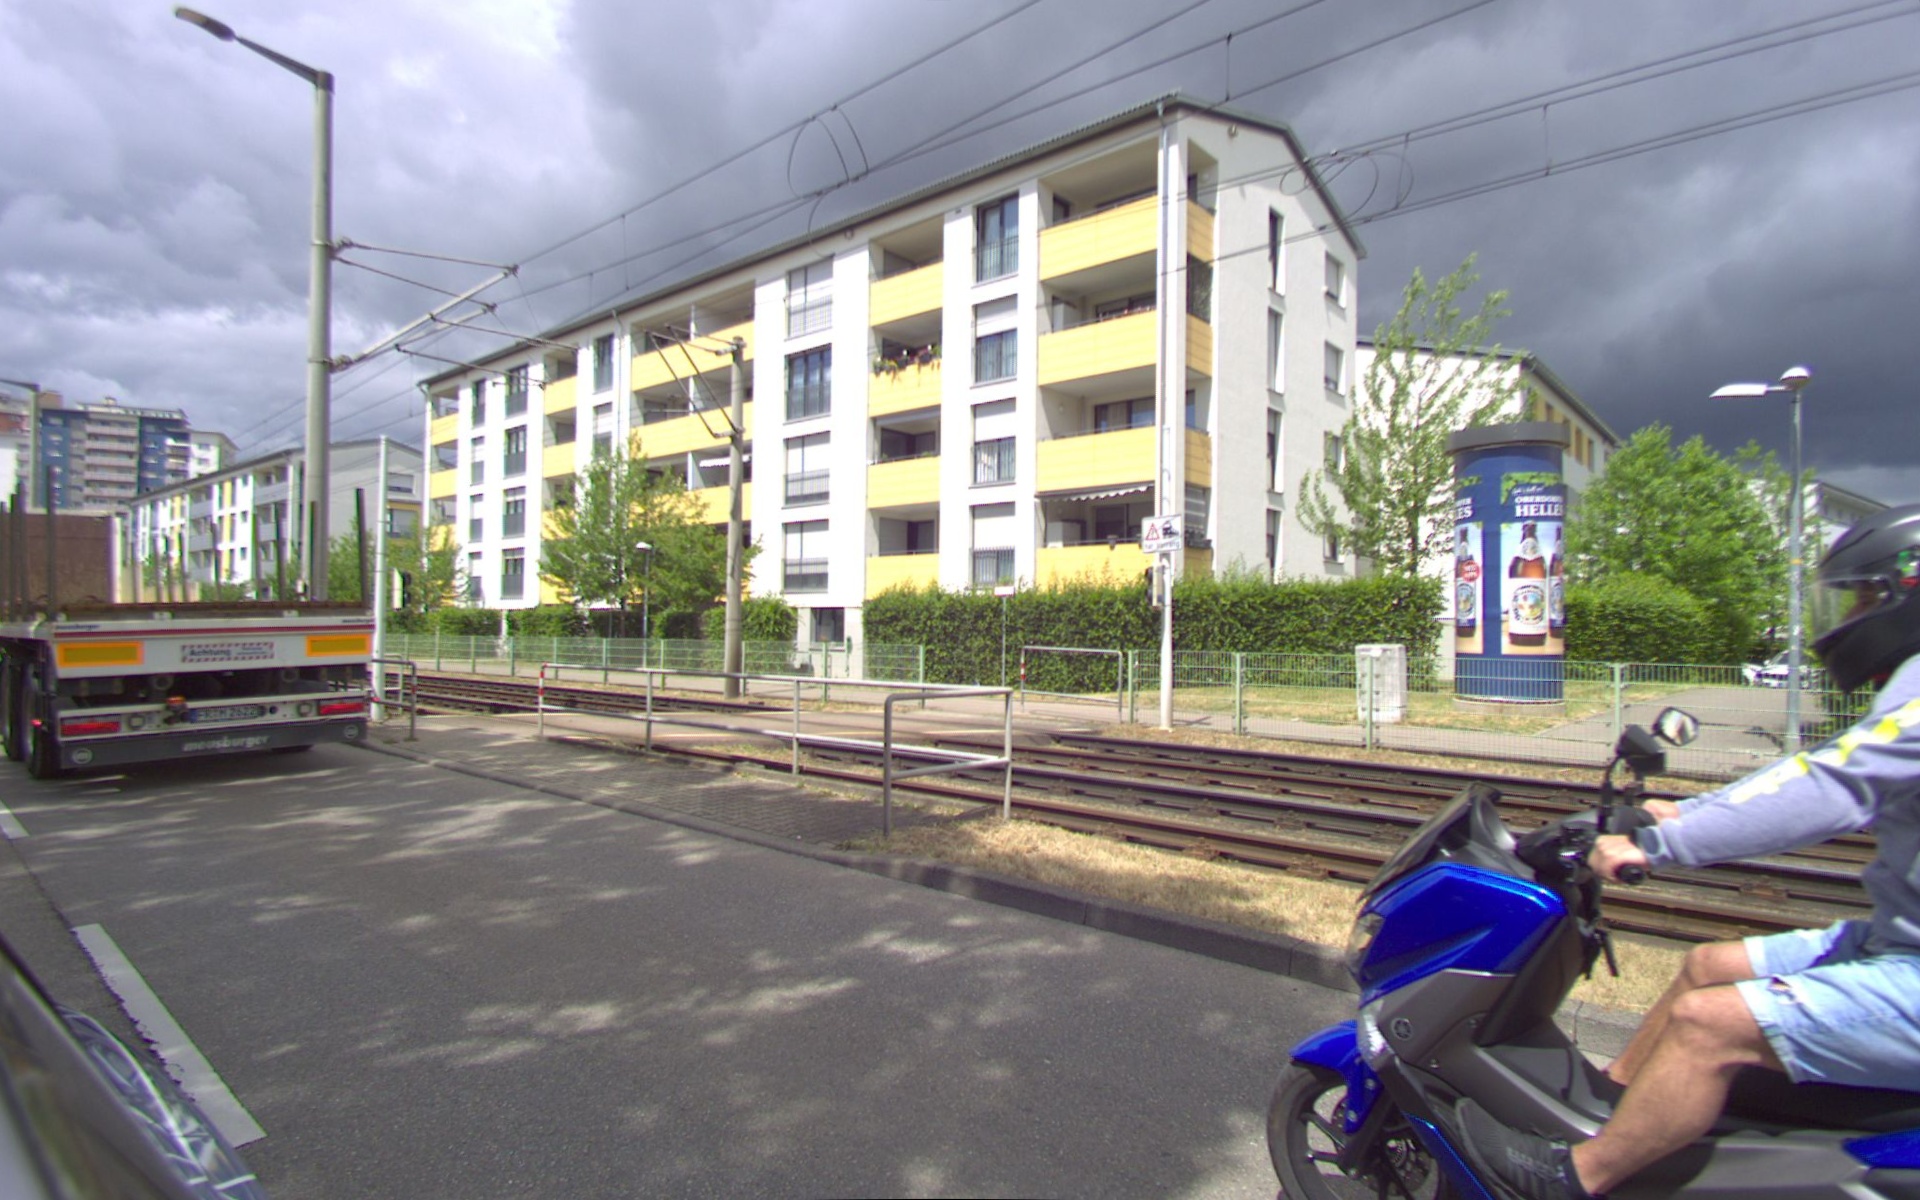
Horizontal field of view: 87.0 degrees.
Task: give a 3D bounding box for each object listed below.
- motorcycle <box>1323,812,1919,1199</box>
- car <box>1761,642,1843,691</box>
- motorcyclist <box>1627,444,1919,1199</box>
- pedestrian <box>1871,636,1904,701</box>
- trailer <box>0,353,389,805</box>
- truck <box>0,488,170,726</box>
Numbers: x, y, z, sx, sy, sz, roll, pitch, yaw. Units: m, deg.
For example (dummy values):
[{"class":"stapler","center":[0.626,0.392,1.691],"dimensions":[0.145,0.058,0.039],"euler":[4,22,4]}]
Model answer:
[{"class":"motorcycle","center":[1.645,0.989,1.642],"dimensions":[1.831,0.961,0.739],"euler":[-2,-1,42]},{"class":"car","center":[22.976,1.774,27.679],"dimensions":[1.615,1.211,3.266],"euler":[-2,-2,39]},{"class":"motorcyclist","center":[1.668,0.523,1.611],"dimensions":[0.887,1.478,0.739],"euler":[-2,-3,41]},{"class":"pedestrian","center":[24.580,1.809,26.809],"dimensions":[0.604,1.692,0.560],"euler":[1,-3,-43]},{"class":"trailer","center":[-11.617,0.010,13.672],"dimensions":[13.672,3.607,2.669],"euler":[-2,-1,42]},{"class":"truck","center":[-16.370,0.185,17.990],"dimensions":[6.143,3.607,2.669],"euler":[-2,-1,42]}]
